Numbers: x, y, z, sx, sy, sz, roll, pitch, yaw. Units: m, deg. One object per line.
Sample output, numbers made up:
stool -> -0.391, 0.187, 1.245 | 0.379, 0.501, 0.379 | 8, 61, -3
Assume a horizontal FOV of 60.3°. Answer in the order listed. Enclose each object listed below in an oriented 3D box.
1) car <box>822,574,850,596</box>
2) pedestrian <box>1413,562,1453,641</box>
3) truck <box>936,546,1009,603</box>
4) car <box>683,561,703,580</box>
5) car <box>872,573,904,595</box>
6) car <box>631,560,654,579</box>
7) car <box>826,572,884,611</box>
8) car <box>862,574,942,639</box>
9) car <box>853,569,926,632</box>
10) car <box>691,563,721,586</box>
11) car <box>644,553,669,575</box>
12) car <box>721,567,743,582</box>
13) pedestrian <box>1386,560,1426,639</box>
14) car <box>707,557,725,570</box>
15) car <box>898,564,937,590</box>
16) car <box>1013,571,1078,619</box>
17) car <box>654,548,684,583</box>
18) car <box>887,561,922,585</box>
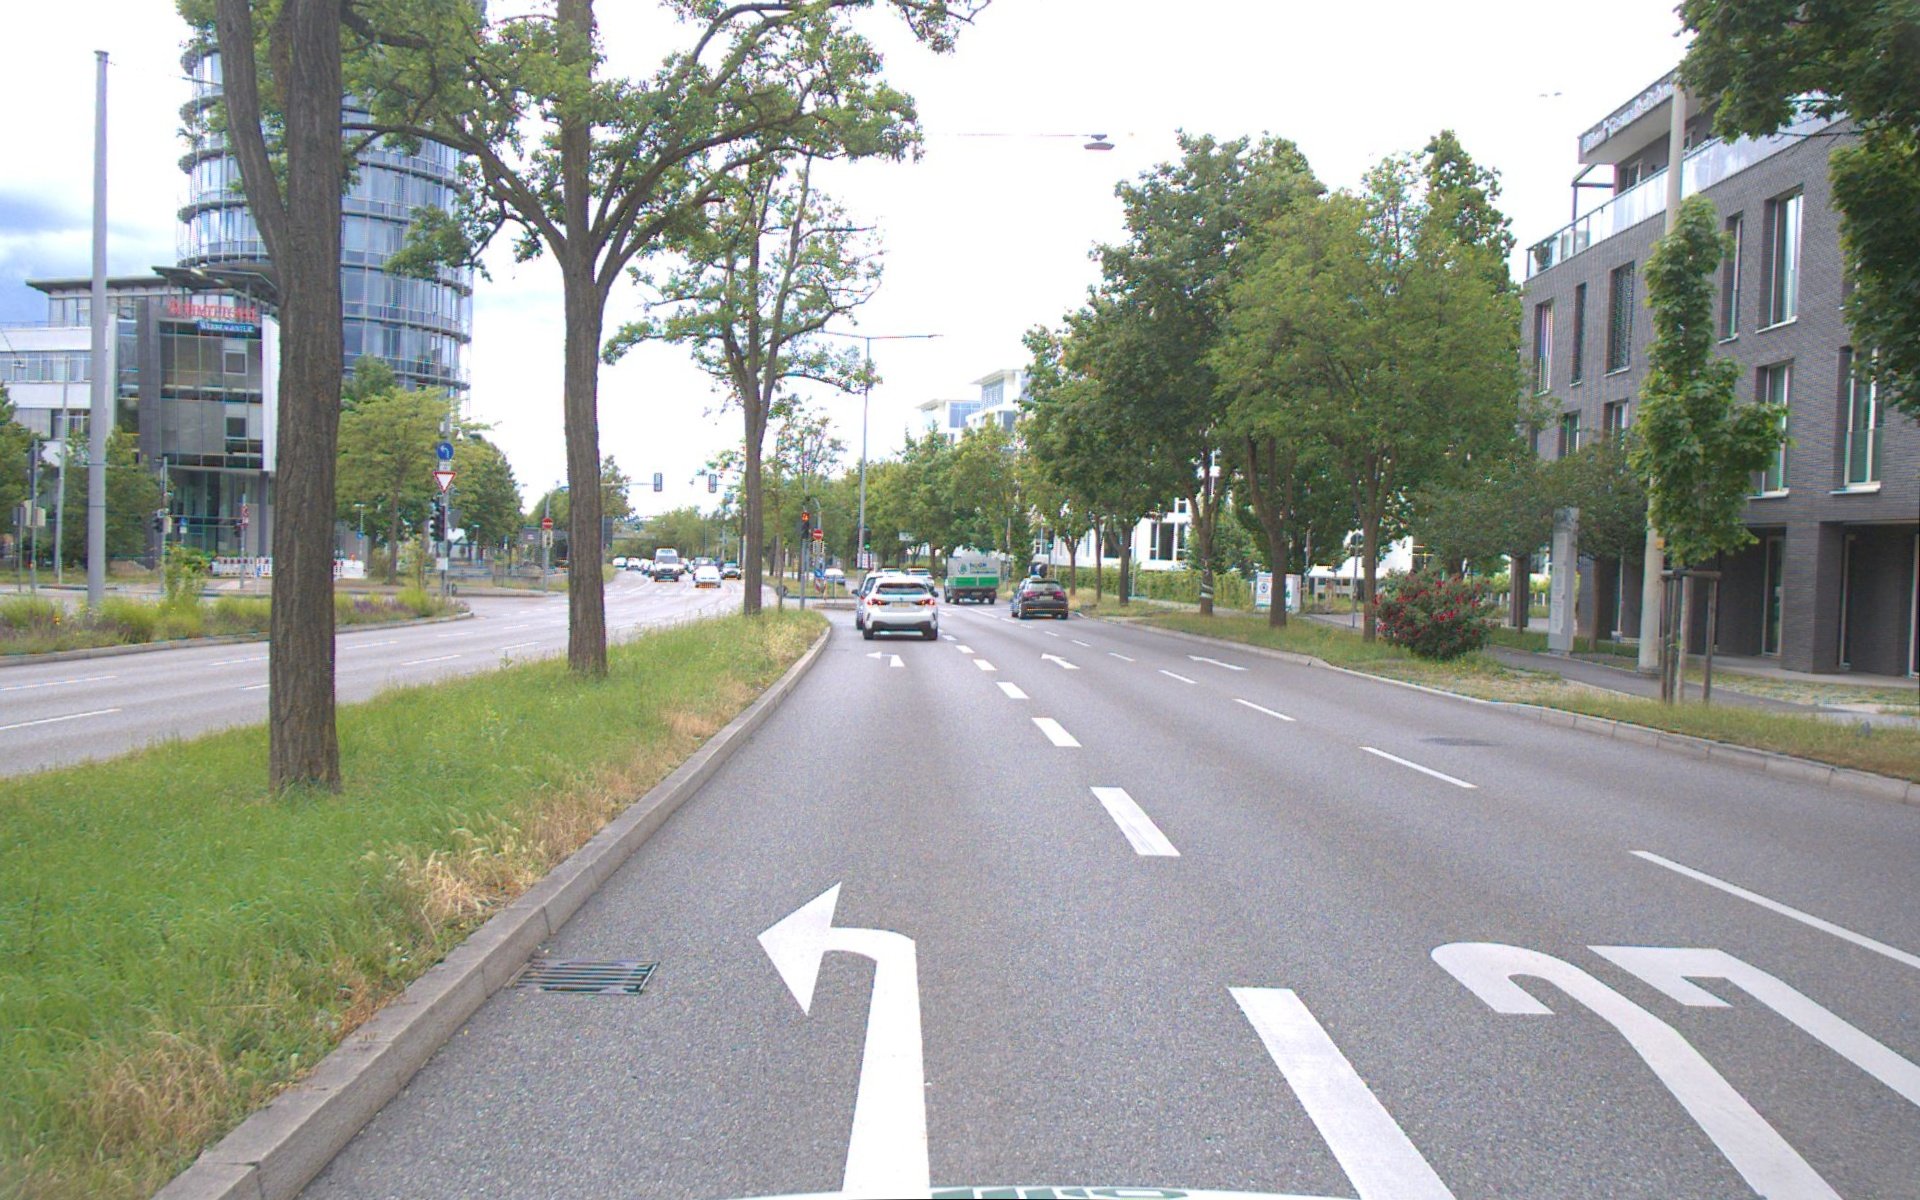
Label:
car -> -9.205, -1.137, 122.939 | 1.955, 1.516, 3.996 | 2, 1, -6
pedestrian -> 11.219, 0.033, 39.241 | 0.596, 1.806, 0.953 | 1, 3, -3
truck -> 0.534, -1.214, 80.539 | 2.805, 2.563, 6.278 | 1, 0, -7
car -> -31.083, -3.446, 192.408 | 1.955, 2.045, 4.319 | 3, 1, -6
car -> -5.119, -1.144, 117.119 | 1.955, 1.516, 3.996 | 2, 1, -6
car -> -33.917, -3.268, 176.649 | 1.955, 1.885, 4.319 | 3, 1, -6
car -> -4.285, -0.343, 68.157 | 1.952, 1.534, 4.001 | 1, 0, 2
car -> -1.376, 0.143, 40.526 | 1.825, 1.474, 3.999 | 1, 0, -1
car -> -2.025, 0.012, 47.663 | 1.953, 1.701, 3.998 | 1, 0, -2
car -> -17.547, -1.756, 114.373 | 1.719, 1.469, 4.130 | 3, 1, -6
car -> -29.375, -3.461, 160.269 | 1.955, 2.045, 4.319 | 3, 1, -6
car -> -20.866, -2.346, 151.620 | 1.719, 1.395, 3.777 | 0, 1, -3
pedestrian -> 10.559, -0.016, 39.184 | 0.596, 1.806, 0.953 | 1, 3, -3
car -> -32.823, -4.896, 222.451 | 1.954, 1.646, 3.998 | 3, 1, -3
car -> -2.608, -1.406, 101.339 | 1.956, 1.534, 3.993 | 1, 1, -8
car -> 3.034, -0.198, 59.286 | 1.953, 1.624, 3.998 | 1, 1, -2
car -> -24.135, -2.846, 137.304 | 1.955, 2.679, 5.868 | 3, 1, -6
car -> -3.839, -1.855, 113.832 | 1.956, 1.534, 3.993 | 1, 1, -8
